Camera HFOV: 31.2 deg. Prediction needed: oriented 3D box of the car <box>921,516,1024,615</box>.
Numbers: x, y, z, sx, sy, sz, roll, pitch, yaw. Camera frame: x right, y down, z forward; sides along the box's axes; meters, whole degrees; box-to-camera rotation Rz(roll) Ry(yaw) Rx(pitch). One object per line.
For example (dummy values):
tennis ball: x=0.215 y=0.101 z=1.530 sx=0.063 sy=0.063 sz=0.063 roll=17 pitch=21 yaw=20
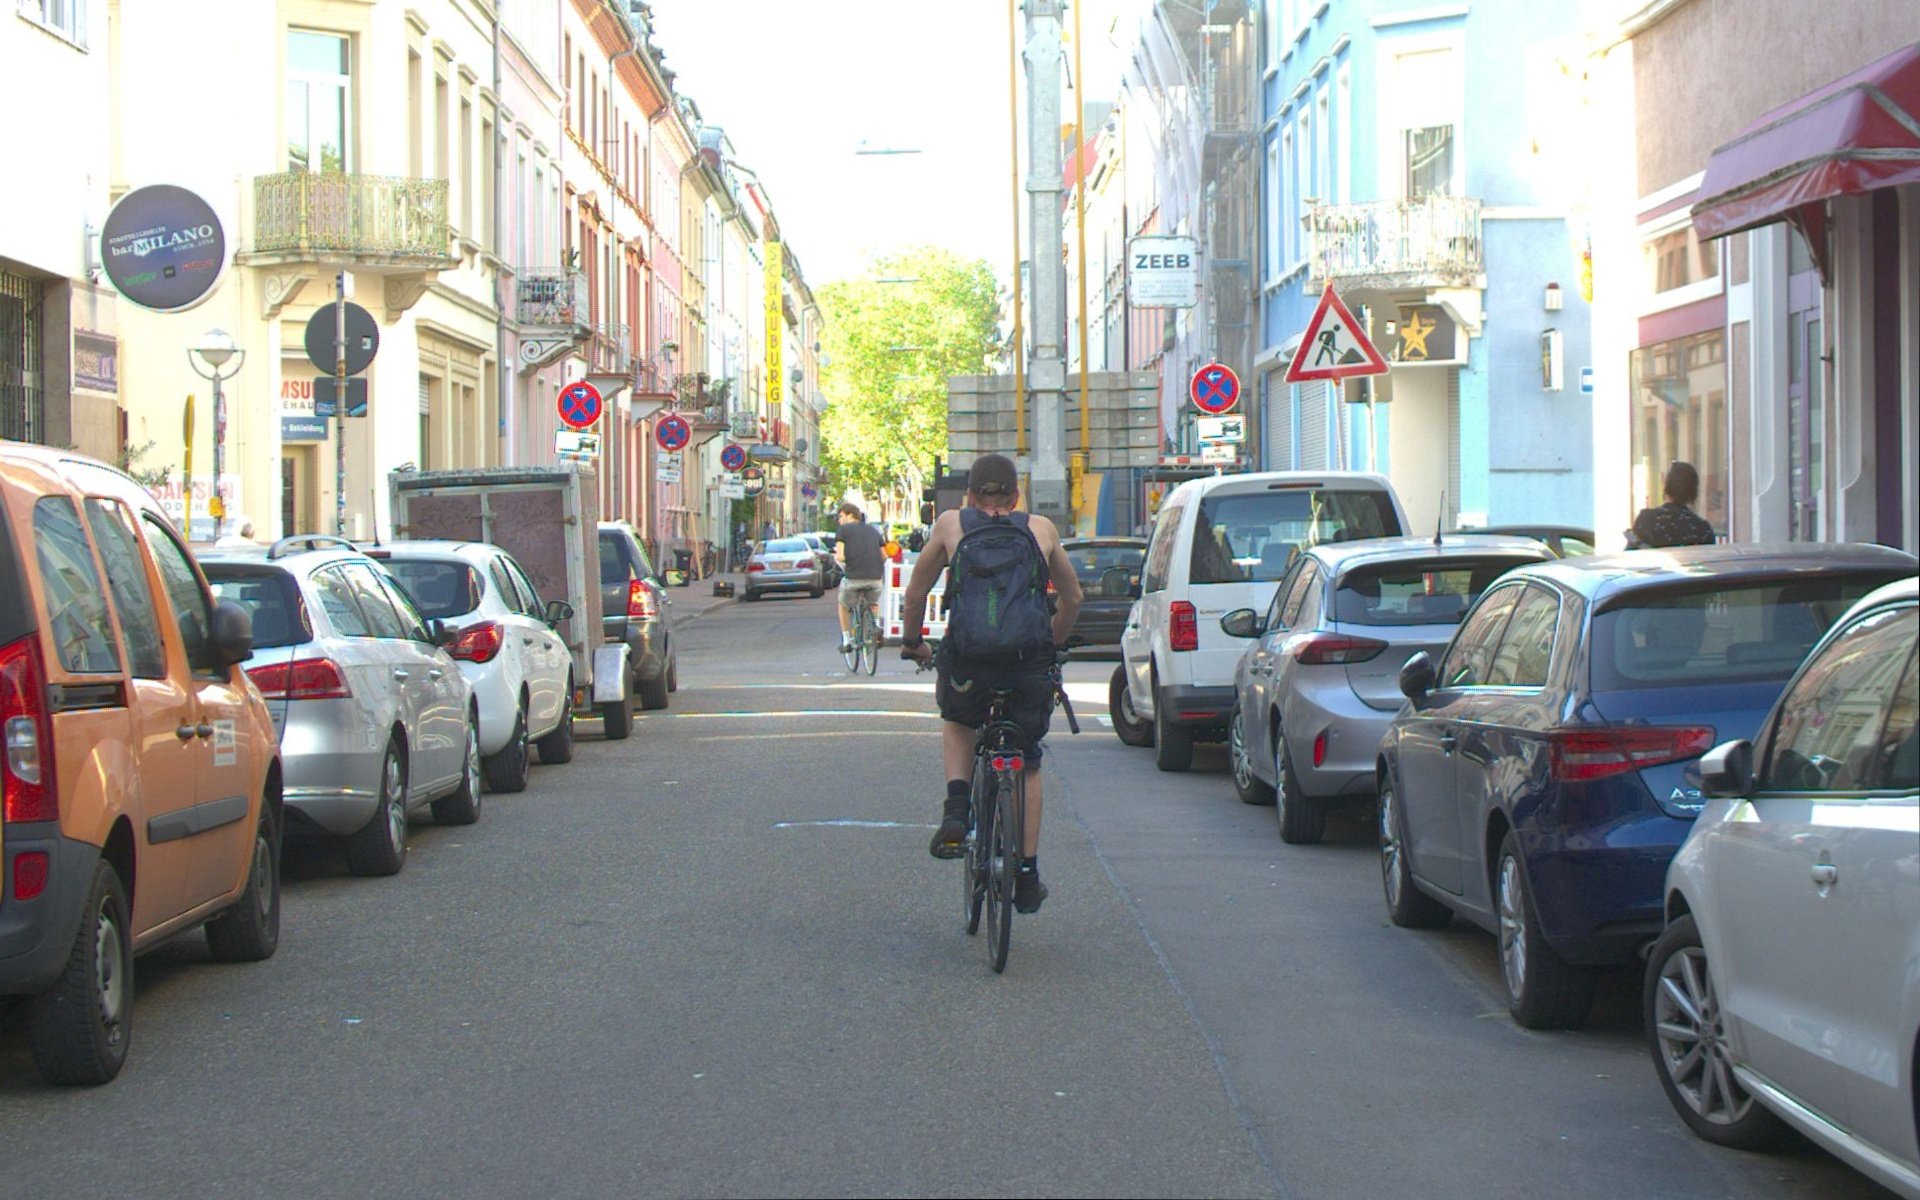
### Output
car: x=0.178 y=-0.567 z=56.225 sx=1.611 sy=1.555 sz=3.610 roll=1 pitch=1 yaw=-1

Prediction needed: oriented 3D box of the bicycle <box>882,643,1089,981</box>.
bicycle: x=0.066 y=0.718 z=12.390 sx=0.677 sy=1.071 sz=1.942 roll=1 pitch=1 yaw=-1

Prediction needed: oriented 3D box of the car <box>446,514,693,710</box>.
car: x=-3.352 y=0.076 z=30.116 sx=1.750 sy=1.567 sz=3.796 roll=-1 pitch=1 yaw=-1

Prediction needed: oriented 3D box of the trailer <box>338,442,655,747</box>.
trailer: x=-3.402 y=-0.059 z=25.880 sx=1.882 sy=2.085 sz=3.737 roll=-1 pitch=1 yaw=-1

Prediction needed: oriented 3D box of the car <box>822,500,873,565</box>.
car: x=-4.097 y=-2.447 z=125.461 sx=1.750 sy=2.310 sz=3.796 roll=-1 pitch=1 yaw=-1

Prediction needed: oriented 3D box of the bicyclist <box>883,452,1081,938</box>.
bicyclist: x=0.065 y=0.323 z=12.413 sx=0.667 sy=1.671 sz=1.097 roll=1 pitch=1 yaw=-1

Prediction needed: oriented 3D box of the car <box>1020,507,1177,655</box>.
car: x=1.577 y=-0.230 z=40.076 sx=1.611 sy=1.628 sz=3.610 roll=1 pitch=1 yaw=-1

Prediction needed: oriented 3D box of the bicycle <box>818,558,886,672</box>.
bicycle: x=-1.091 y=0.135 z=35.085 sx=0.648 sy=1.125 sz=2.136 roll=1 pitch=1 yaw=-1

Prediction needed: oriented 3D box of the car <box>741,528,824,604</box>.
car: x=-4.067 y=-0.793 z=79.213 sx=1.750 sy=1.678 sz=3.796 roll=-1 pitch=1 yaw=-1

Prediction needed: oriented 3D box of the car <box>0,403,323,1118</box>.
car: x=-3.235 y=0.418 z=10.742 sx=1.752 sy=1.810 sz=4.078 roll=-2 pitch=1 yaw=-1

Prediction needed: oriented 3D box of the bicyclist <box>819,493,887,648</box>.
bicyclist: x=-1.093 y=-0.306 z=35.286 sx=0.671 sy=1.562 sz=0.716 roll=1 pitch=1 yaw=-1

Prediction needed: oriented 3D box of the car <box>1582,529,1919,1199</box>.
car: x=2.486 y=0.593 z=7.045 sx=1.667 sy=1.500 sz=3.816 roll=-3 pitch=1 yaw=0

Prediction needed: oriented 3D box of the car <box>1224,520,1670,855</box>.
car: x=2.363 y=0.375 z=17.556 sx=1.750 sy=1.481 sz=3.800 roll=-1 pitch=1 yaw=1

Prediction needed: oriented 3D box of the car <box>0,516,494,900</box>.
car: x=-3.347 y=0.416 z=16.181 sx=1.750 sy=1.532 sz=4.319 roll=-1 pitch=1 yaw=-1

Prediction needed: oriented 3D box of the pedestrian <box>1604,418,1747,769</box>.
pedestrian: x=4.180 y=-0.043 z=20.114 sx=0.644 sy=2.007 sz=0.764 roll=1 pitch=1 yaw=-1

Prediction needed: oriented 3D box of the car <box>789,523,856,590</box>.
car: x=-3.855 y=-1.227 z=96.890 sx=1.750 sy=1.815 sz=3.796 roll=-1 pitch=1 yaw=-1

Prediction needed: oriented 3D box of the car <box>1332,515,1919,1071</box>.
car: x=2.386 y=0.513 z=11.710 sx=1.646 sy=1.470 sz=3.971 roll=-4 pitch=1 yaw=-1

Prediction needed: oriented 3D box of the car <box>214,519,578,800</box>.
car: x=-3.359 y=0.311 z=21.073 sx=1.653 sy=1.532 sz=3.634 roll=-1 pitch=1 yaw=-1

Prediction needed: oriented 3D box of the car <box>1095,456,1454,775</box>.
car: x=1.968 y=0.069 z=22.615 sx=1.750 sy=1.872 sz=3.973 roll=-1 pitch=1 yaw=-3
